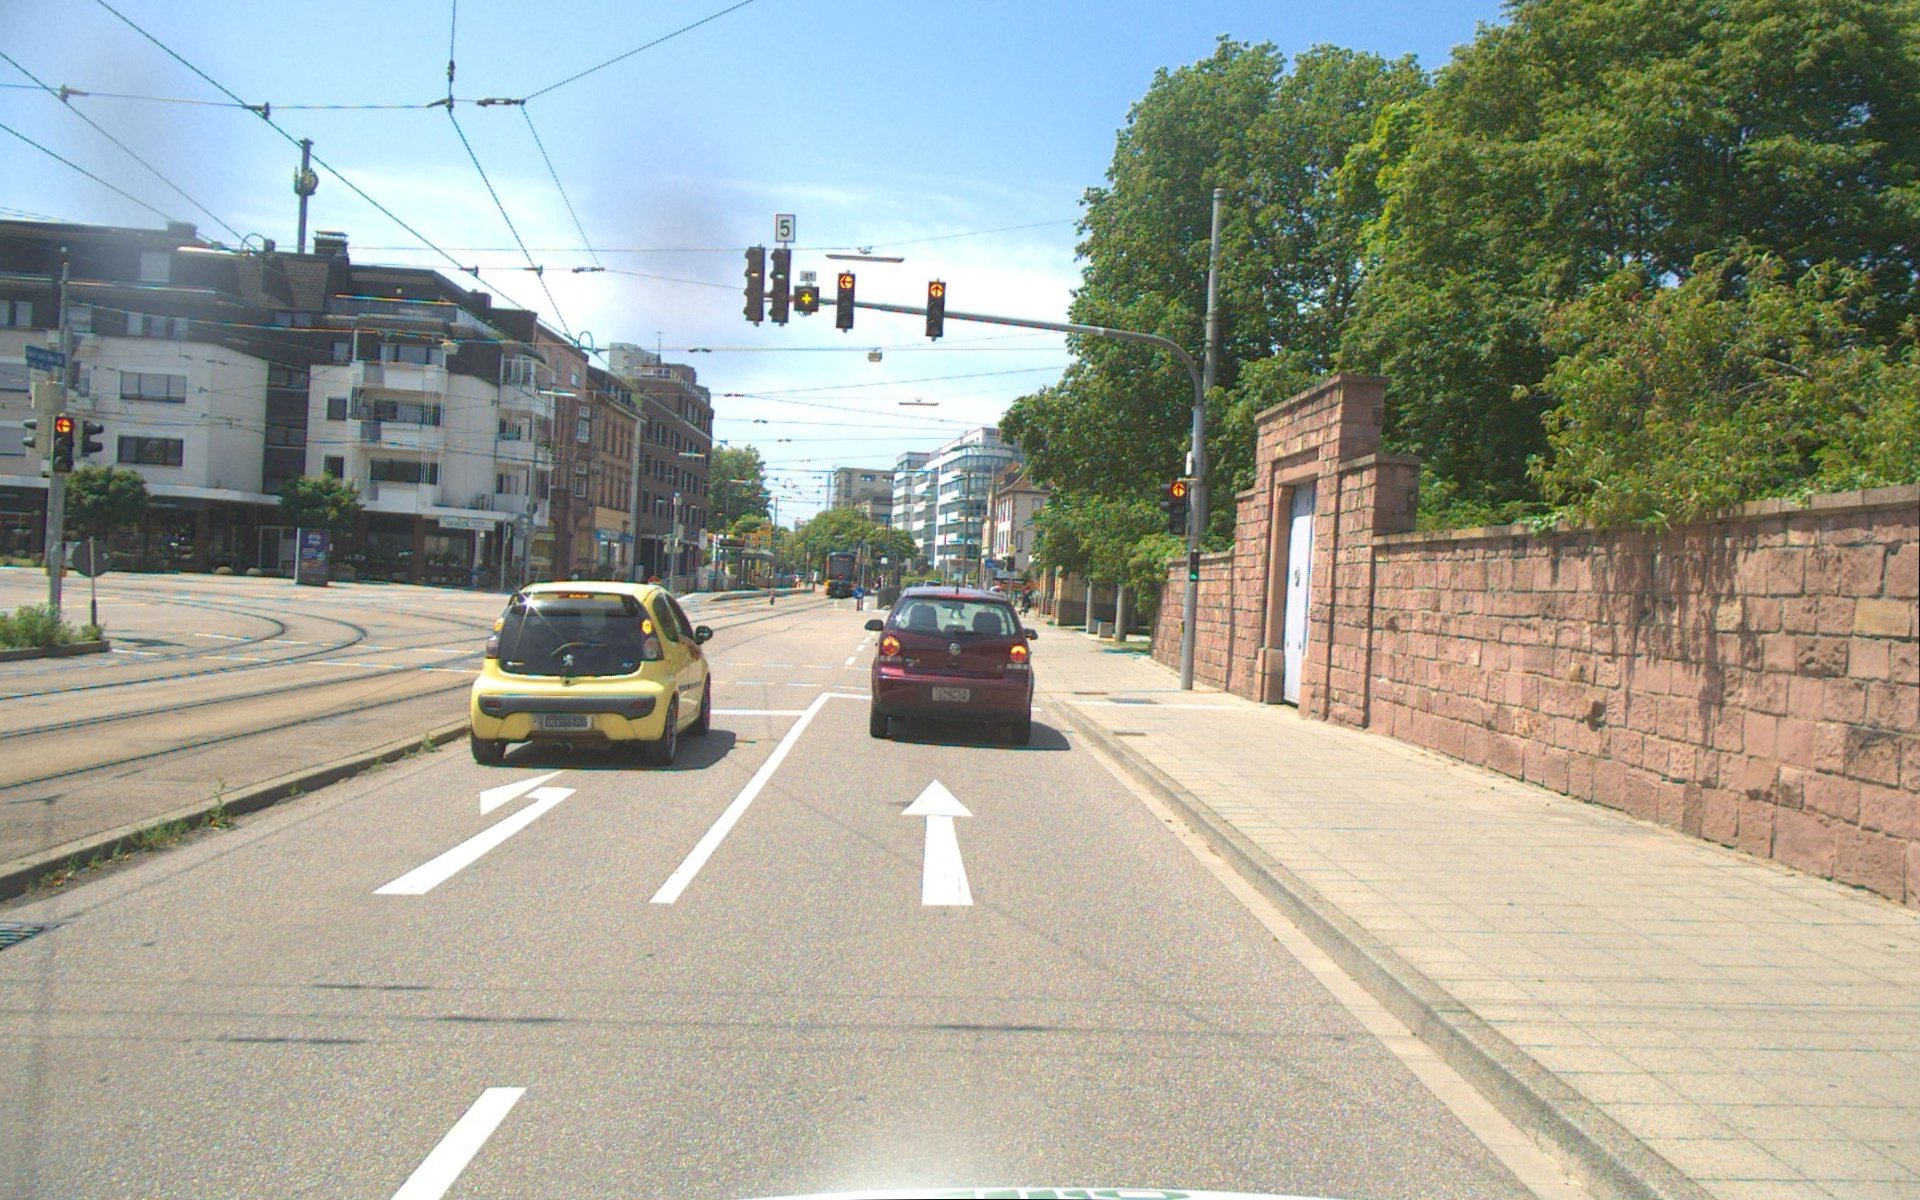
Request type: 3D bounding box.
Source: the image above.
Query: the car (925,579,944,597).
[{"bbox_3d":[-2.109,-1.013,134.795,1.540,1.440,3.719,0,1,-2],"label":"car"}]

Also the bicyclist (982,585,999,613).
[{"bbox_3d":[1.531,-0.053,83.872,0.496,1.430,0.765,1,-1,36],"label":"bicyclist"}]

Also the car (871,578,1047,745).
[{"bbox_3d":[-0.061,0.554,17.498,1.577,1.489,4.084,3,0,-2],"label":"car"}]

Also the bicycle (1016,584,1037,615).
[{"bbox_3d":[3.403,-0.011,85.140,0.818,1.552,3.999,1,0,-1],"label":"bicycle"}]

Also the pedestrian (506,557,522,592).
[{"bbox_3d":[-22.982,-1.289,85.172,0.497,1.785,0.606,1,-1,45],"label":"pedestrian"}]

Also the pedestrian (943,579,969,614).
[{"bbox_3d":[-0.205,-0.188,83.503,0.971,1.690,0.910,2,0,-29],"label":"pedestrian"}]

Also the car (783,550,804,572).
[{"bbox_3d":[-16.421,-3.854,163.360,1.700,2.048,3.999,3,1,-1],"label":"car"}]

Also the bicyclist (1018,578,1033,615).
[{"bbox_3d":[3.394,-0.178,85.729,0.707,1.850,0.888,1,0,-1],"label":"bicyclist"}]

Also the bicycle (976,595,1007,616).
[{"bbox_3d":[1.626,0.291,83.965,0.568,1.025,1.863,1,0,37],"label":"bicycle"}]

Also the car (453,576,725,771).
[{"bbox_3d":[-3.109,0.544,14.454,1.688,1.470,3.292,1,1,-2],"label":"car"}]

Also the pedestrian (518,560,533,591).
[{"bbox_3d":[-22.010,-1.225,83.750,0.474,1.568,0.538,1,-1,21],"label":"pedestrian"}]

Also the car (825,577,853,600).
[{"bbox_3d":[-9.187,-0.858,126.198,1.899,1.670,3.999,1,0,-2],"label":"car"}]
